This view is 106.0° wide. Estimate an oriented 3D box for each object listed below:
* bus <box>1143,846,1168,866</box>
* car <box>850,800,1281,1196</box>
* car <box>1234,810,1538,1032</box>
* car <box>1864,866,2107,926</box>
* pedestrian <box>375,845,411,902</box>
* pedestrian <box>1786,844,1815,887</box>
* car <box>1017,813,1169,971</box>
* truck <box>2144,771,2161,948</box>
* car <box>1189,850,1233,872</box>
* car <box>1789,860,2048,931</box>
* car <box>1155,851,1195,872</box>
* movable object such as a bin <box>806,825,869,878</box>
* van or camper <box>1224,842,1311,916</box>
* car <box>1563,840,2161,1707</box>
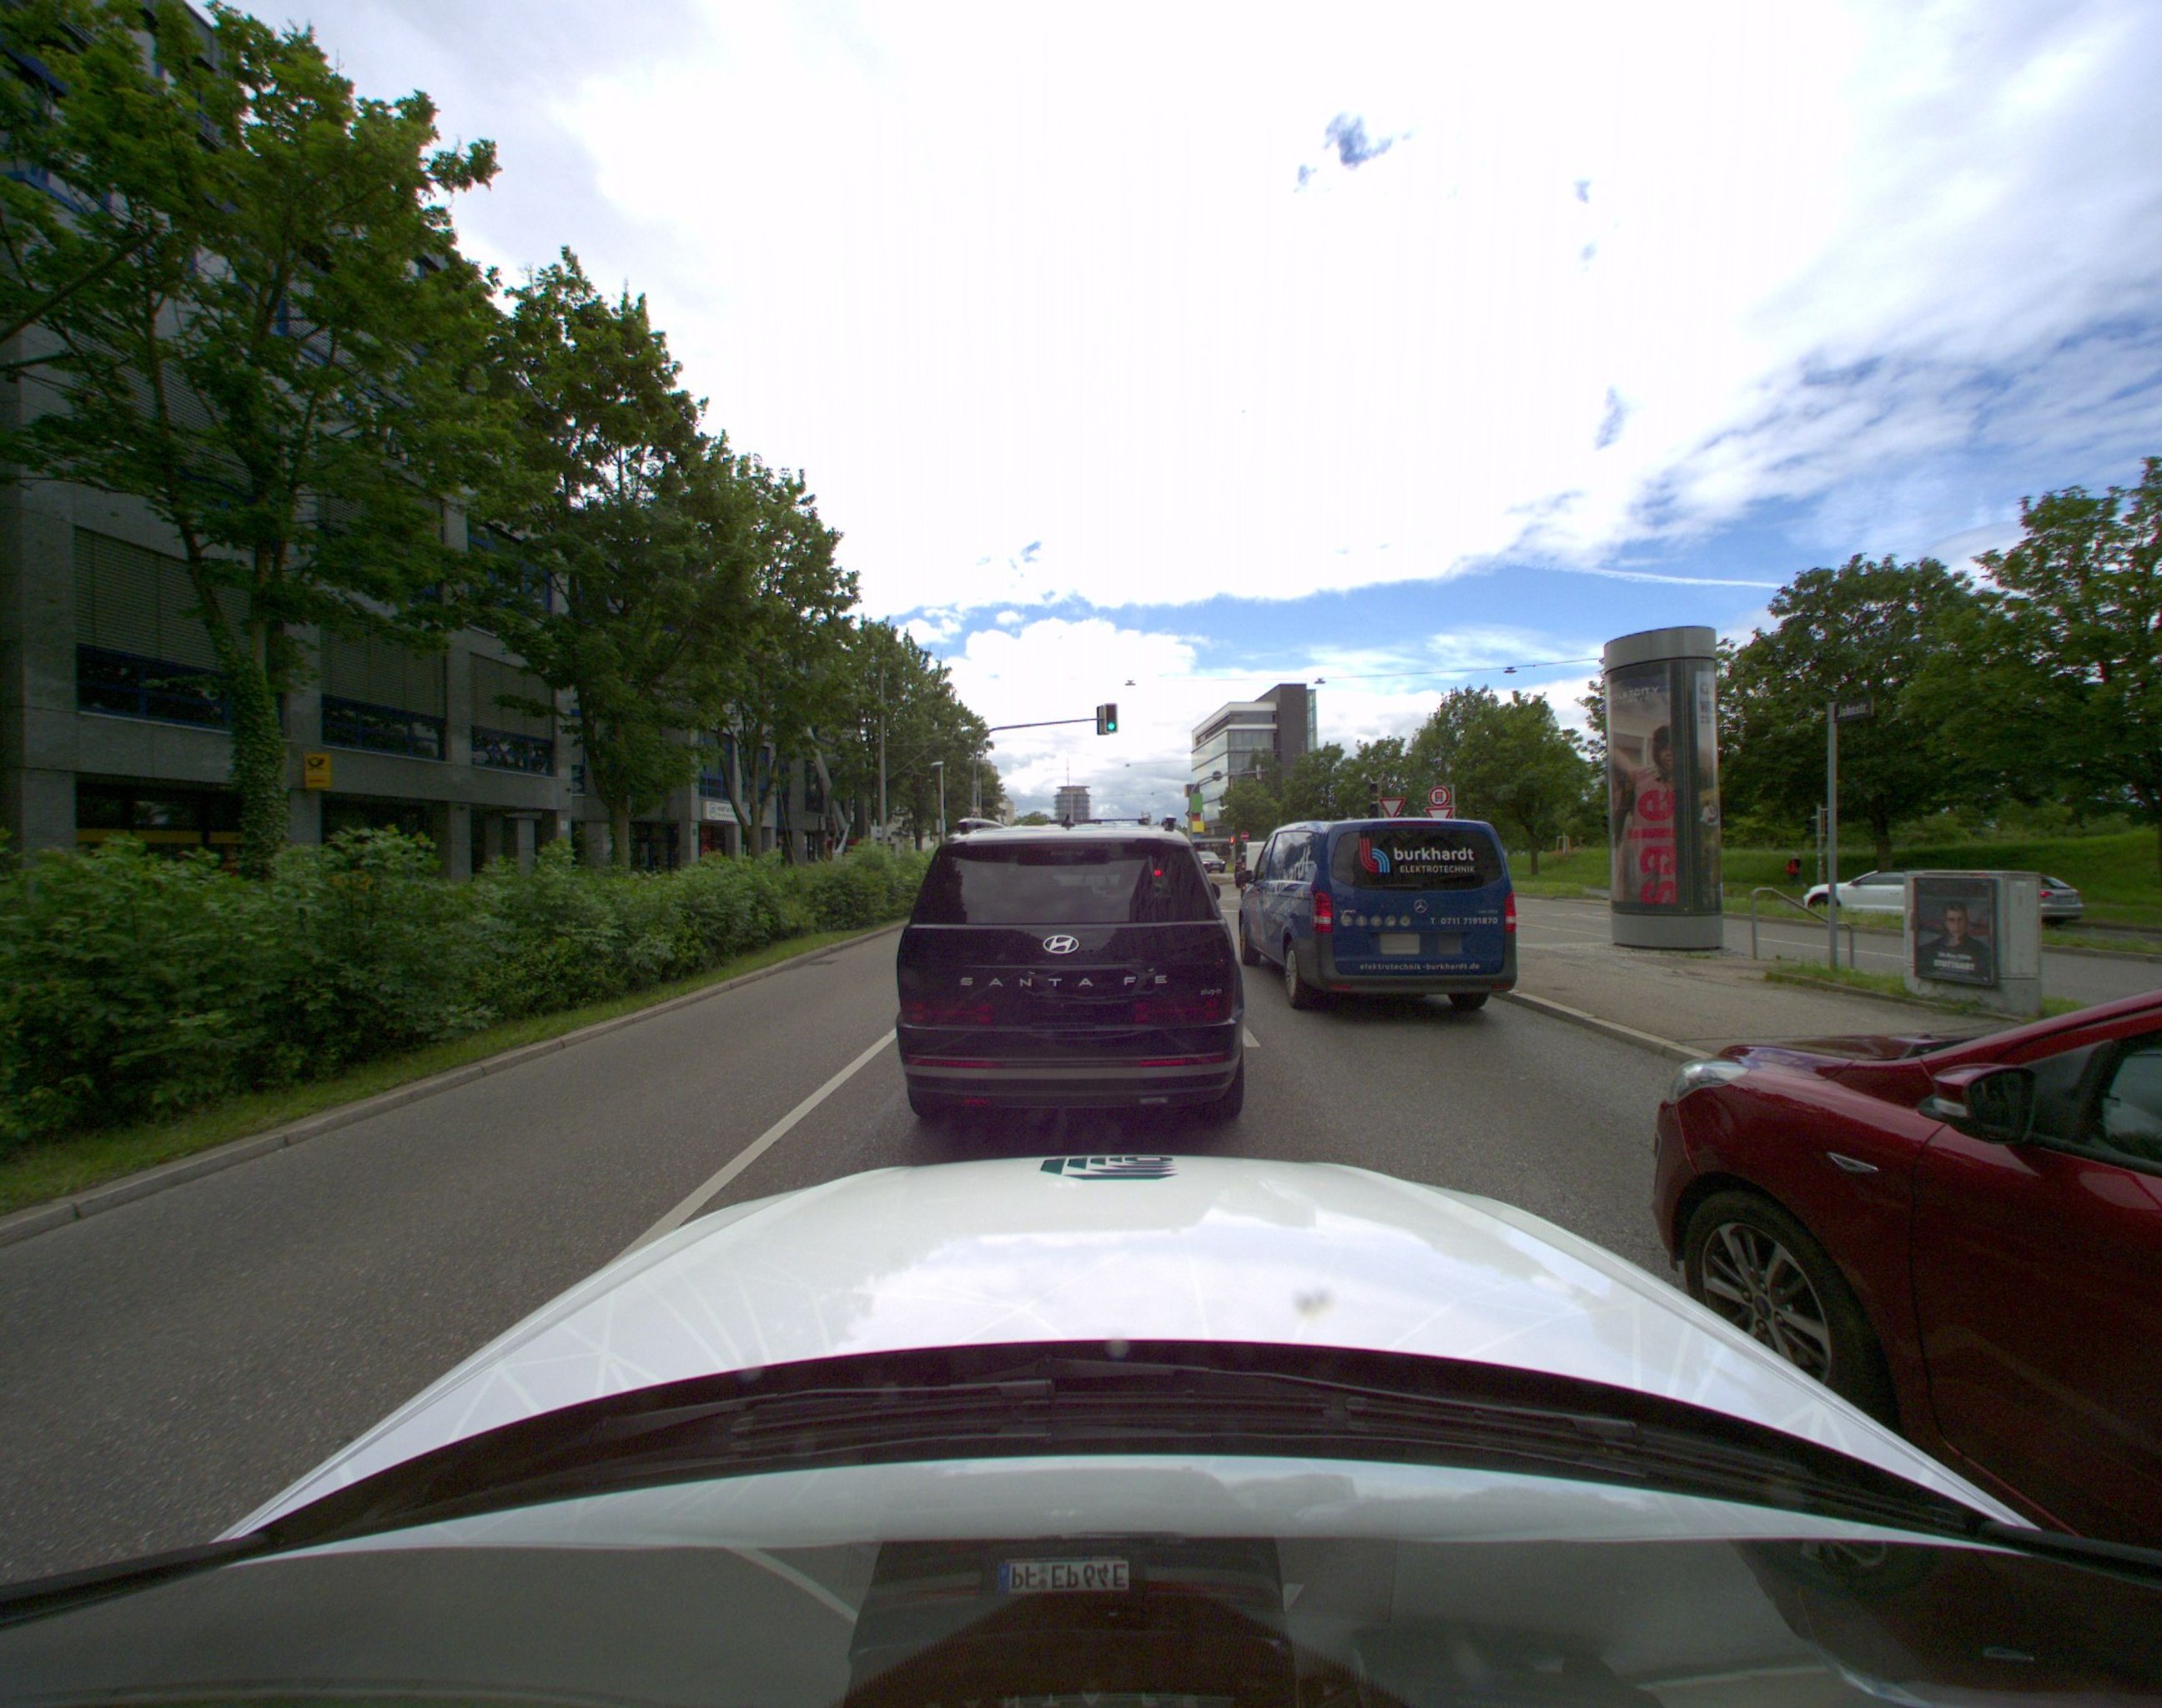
[{"bbox_3d":[12.151,0.383,133.304,2.958,3.116,9.238,-2,-1,-1],"label":"bus"},{"bbox_3d":[0.001,0.629,5.828,1.895,1.731,4.448,0,0,2],"label":"car"},{"bbox_3d":[3.017,0.560,9.241,1.894,1.859,4.713,0,0,3],"label":"car"},{"bbox_3d":[25.025,1.099,22.777,1.984,1.442,4.143,0,0,-11],"label":"car"},{"bbox_3d":[-16.565,0.455,19.615,0.364,1.334,0.558,2,0,-3],"label":"pedestrian"},{"bbox_3d":[28.440,0.458,32.195,0.536,1.604,0.706,-5,1,18],"label":"pedestrian"},{"bbox_3d":[0.389,0.464,12.579,1.892,1.969,4.644,0,0,6],"label":"car"},{"bbox_3d":[26.230,0.153,14.014,2.821,3.925,9.420,0,0,-12],"label":"truck"},{"bbox_3d":[9.528,0.490,60.051,1.889,1.564,4.380,0,1,-11],"label":"car"},{"bbox_3d":[21.658,0.979,21.374,1.850,1.529,4.472,0,1,-11],"label":"car"},{"bbox_3d":[6.723,0.522,58.727,1.782,1.425,4.382,0,1,-9],"label":"car"},{"bbox_3d":[-12.248,-0.123,41.238,1.898,2.531,4.128,0,0,1],"label":"movable object such as a bin"},{"bbox_3d":[5.239,0.612,23.451,1.983,1.917,4.417,0,1,7],"label":"van or camper"},{"bbox_3d":[2.621,0.717,1.131,1.739,1.481,3.718,0,0,0],"label":"car"}]
